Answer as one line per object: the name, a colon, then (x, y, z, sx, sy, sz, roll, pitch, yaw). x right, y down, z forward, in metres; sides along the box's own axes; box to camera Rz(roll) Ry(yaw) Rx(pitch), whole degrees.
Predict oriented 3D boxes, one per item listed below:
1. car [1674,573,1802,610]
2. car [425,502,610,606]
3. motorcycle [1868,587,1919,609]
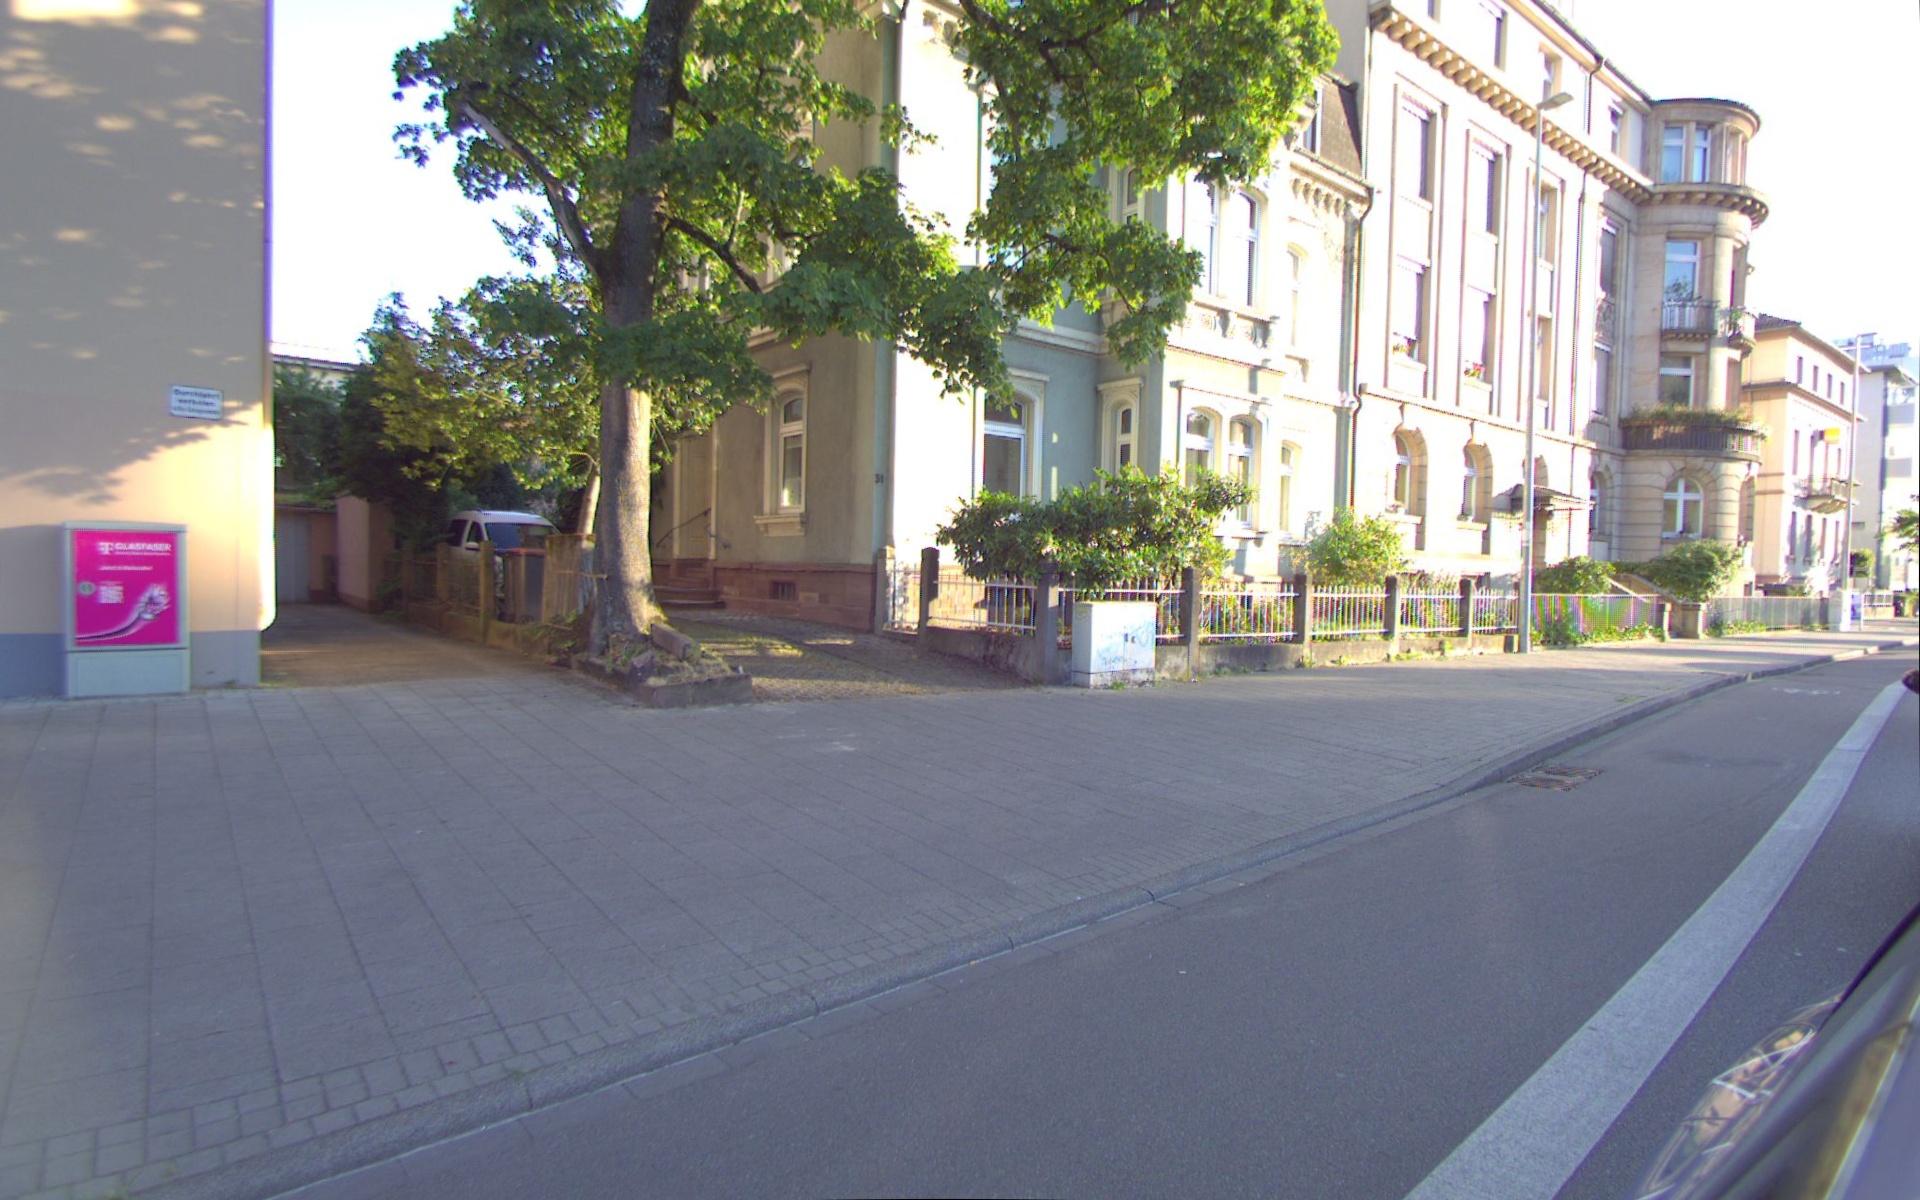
car: (34.042, -0.415, 44.342, 1.903, 1.499, 4.098, 0, 2, -38)
car: (-8.654, -0.936, 19.585, 1.795, 1.778, 4.513, 1, 3, -44)
motorcycle: (48.300, -0.117, 52.350, 0.564, 1.110, 1.851, 0, 1, -33)
